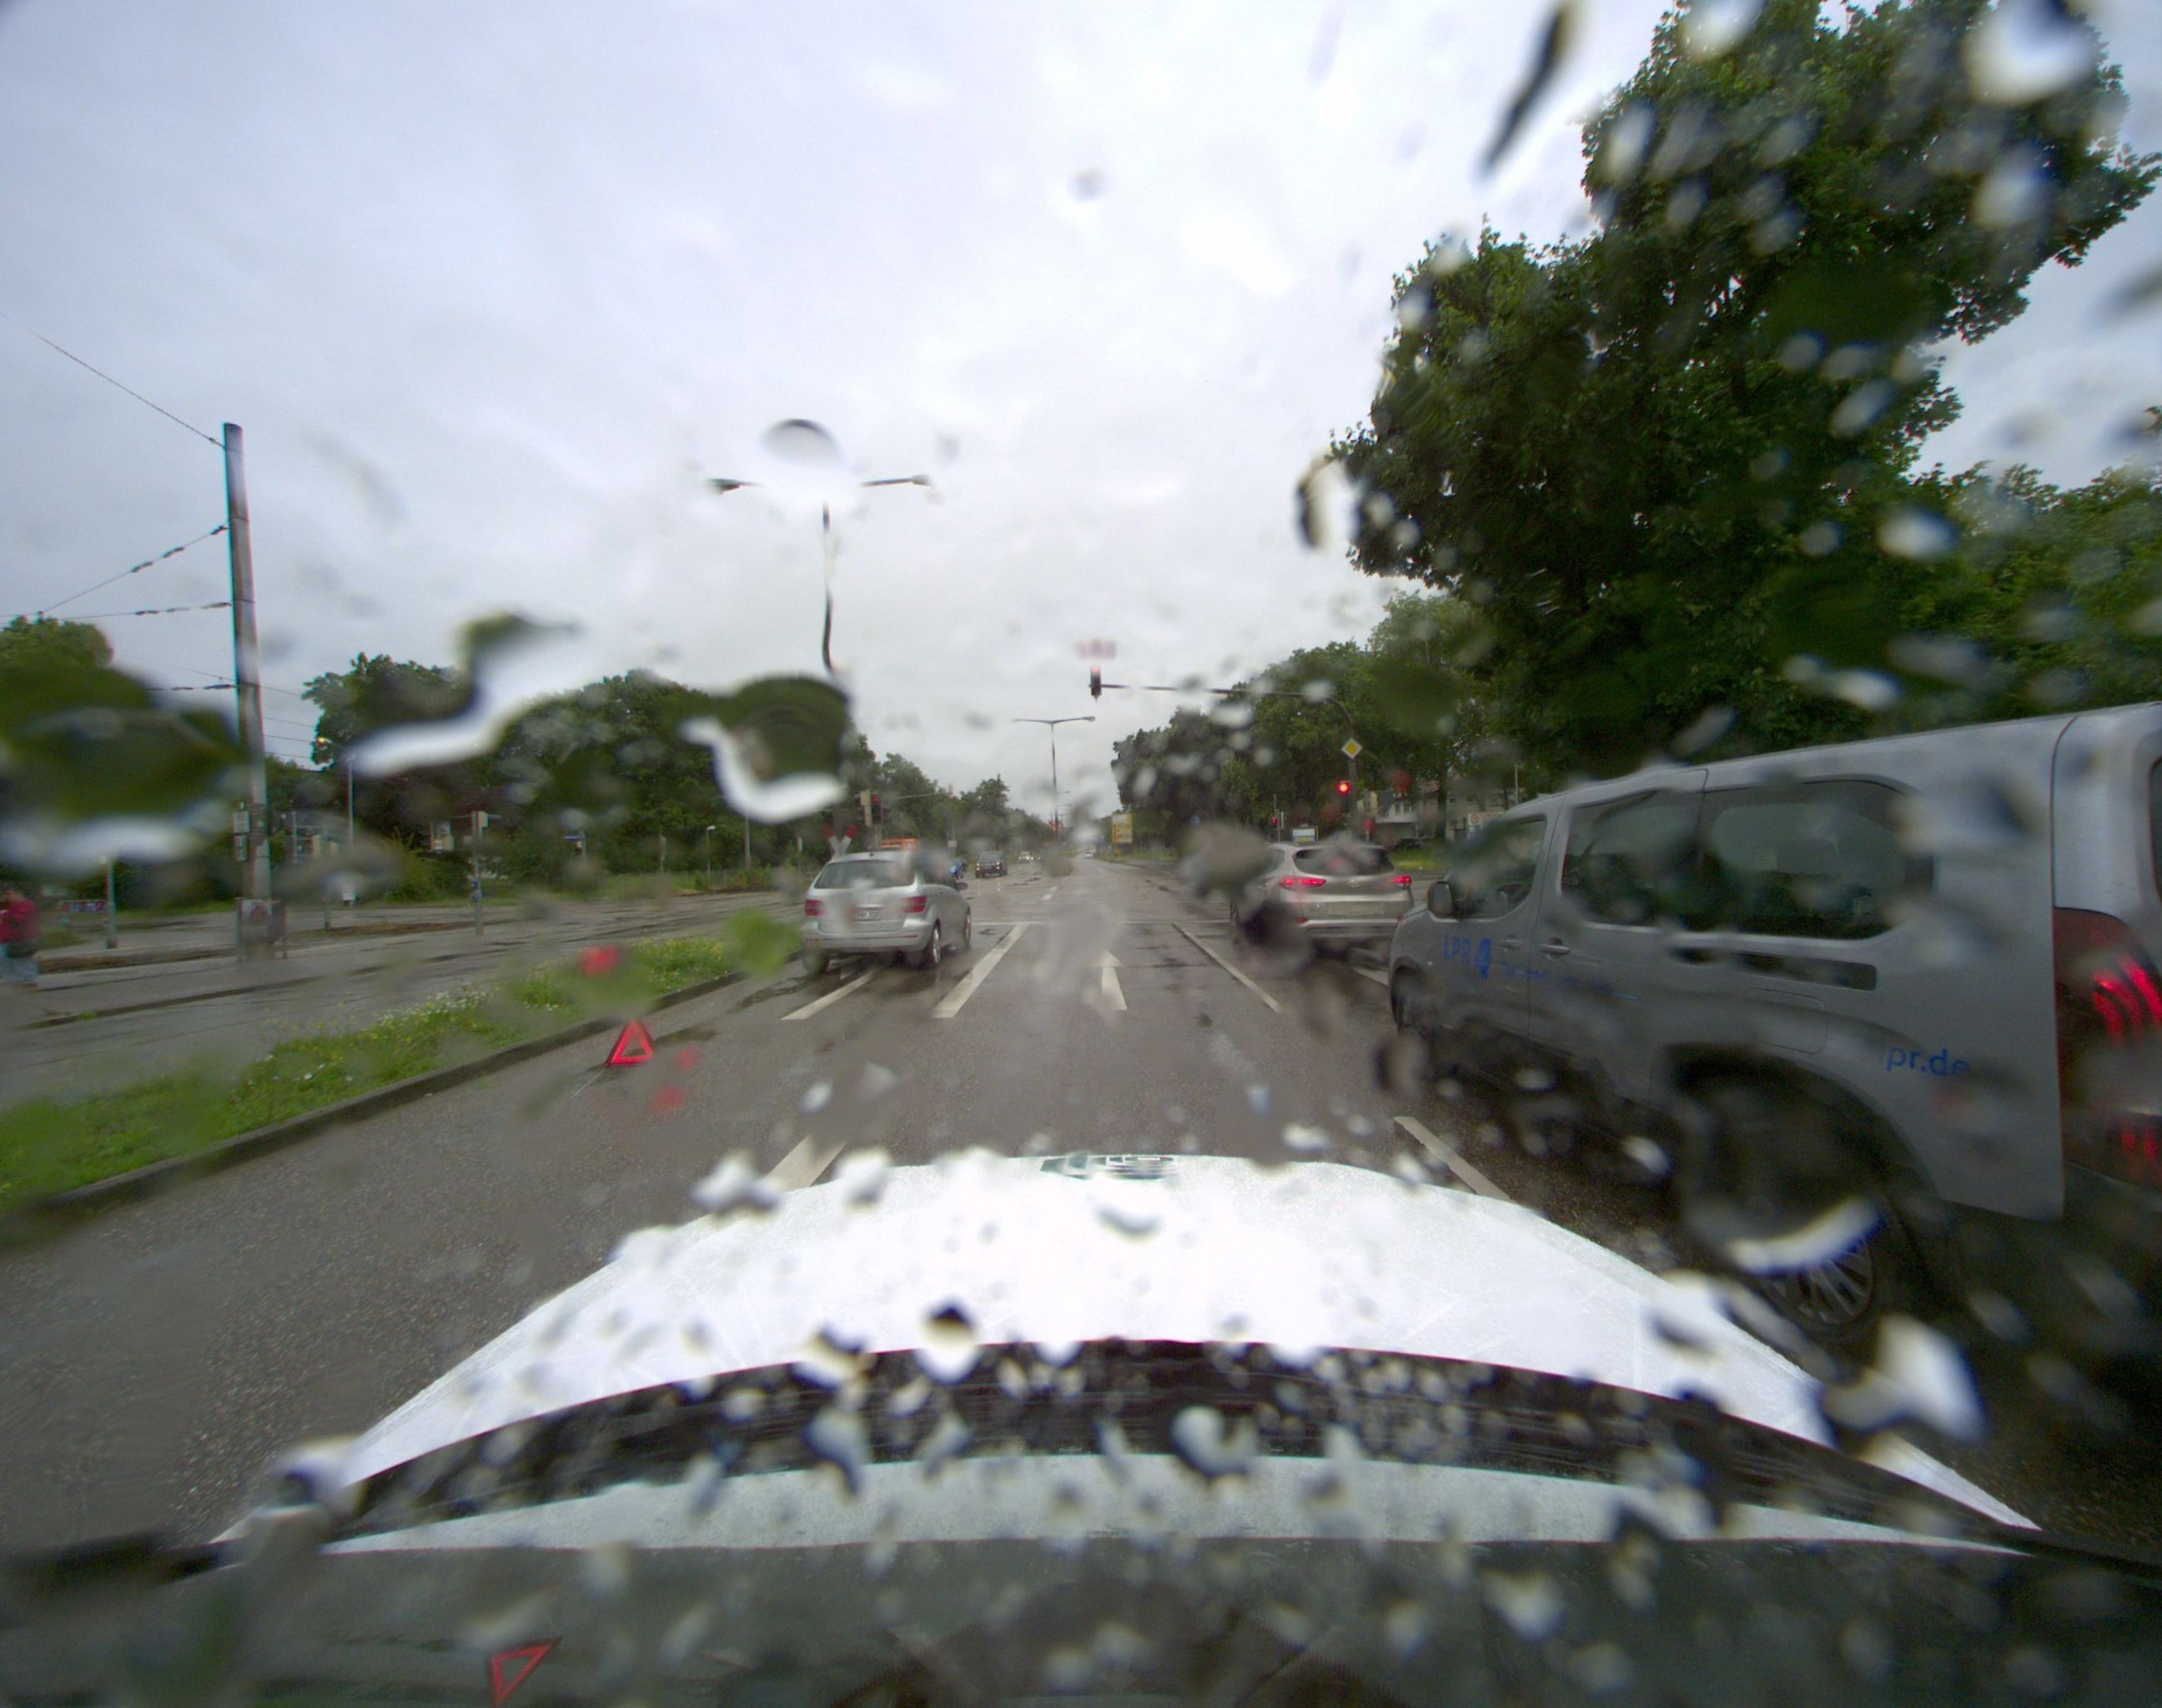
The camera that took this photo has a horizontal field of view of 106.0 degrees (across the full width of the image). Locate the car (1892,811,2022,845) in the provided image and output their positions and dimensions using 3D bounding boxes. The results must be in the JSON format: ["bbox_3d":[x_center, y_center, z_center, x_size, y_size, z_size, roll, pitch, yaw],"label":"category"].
[{"bbox_3d":[44.415,-1.314,41.364,4.571,1.630,1.926,0,0,0],"label":"car"}]

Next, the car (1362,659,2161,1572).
[{"bbox_3d":[3.069,0.500,3.876,1.986,1.795,4.564,-1,0,2],"label":"car"}]

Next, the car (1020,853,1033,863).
[{"bbox_3d":[-9.764,0.656,145.578,1.887,1.611,4.501,-2,0,1],"label":"car"}]

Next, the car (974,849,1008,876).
[{"bbox_3d":[-6.488,0.557,59.183,1.800,1.773,5.088,-4,0,0],"label":"car"}]

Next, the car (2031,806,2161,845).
[{"bbox_3d":[44.388,-1.231,35.577,3.642,1.597,1.722,0,0,3],"label":"car"}]

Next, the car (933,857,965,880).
[{"bbox_3d":[-9.415,1.001,58.203,1.637,1.427,3.997,-4,0,-2],"label":"car"}]

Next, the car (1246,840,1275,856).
[{"bbox_3d":[20.491,-0.685,93.258,1.988,1.717,4.875,-3,0,-2],"label":"car"}]

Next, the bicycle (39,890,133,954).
[{"bbox_3d":[-30.238,2.042,24.783,0.637,1.761,1.735,-2,0,2],"label":"bicycle"}]

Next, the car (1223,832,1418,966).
[{"bbox_3d":[3.290,0.564,12.053,1.876,1.610,4.199,-1,0,4],"label":"car"}]

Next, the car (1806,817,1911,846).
[{"bbox_3d":[44.118,-1.283,46.261,4.583,1.583,1.920,0,0,-8],"label":"car"}]

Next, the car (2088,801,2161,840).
[{"bbox_3d":[44.087,-1.361,32.940,4.164,1.489,1.927,0,0,3],"label":"car"}]

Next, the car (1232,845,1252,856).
[{"bbox_3d":[21.174,-0.440,107.204,1.633,1.486,4.070,0,0,-2],"label":"car"}]

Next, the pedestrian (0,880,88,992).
[{"bbox_3d":[-16.854,1.270,12.940,0.921,1.675,0.997,0,-1,1],"label":"pedestrian"}]

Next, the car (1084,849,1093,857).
[{"bbox_3d":[1.556,-0.212,169.947,1.900,1.515,4.001,-2,0,1],"label":"car"}]

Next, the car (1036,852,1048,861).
[{"bbox_3d":[-7.011,0.471,145.757,1.795,1.569,4.427,-4,-1,-1],"label":"car"}]

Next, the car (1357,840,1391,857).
[{"bbox_3d":[25.828,-0.433,71.632,1.648,1.449,3.776,-1,-1,39],"label":"car"}]

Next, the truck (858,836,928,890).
[{"bbox_3d":[-15.516,0.725,68.062,3.374,4.167,10.405,0,0,0],"label":"truck"}]

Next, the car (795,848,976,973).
[{"bbox_3d":[-2.754,0.720,12.401,1.731,1.544,4.012,-2,0,0],"label":"car"}]
